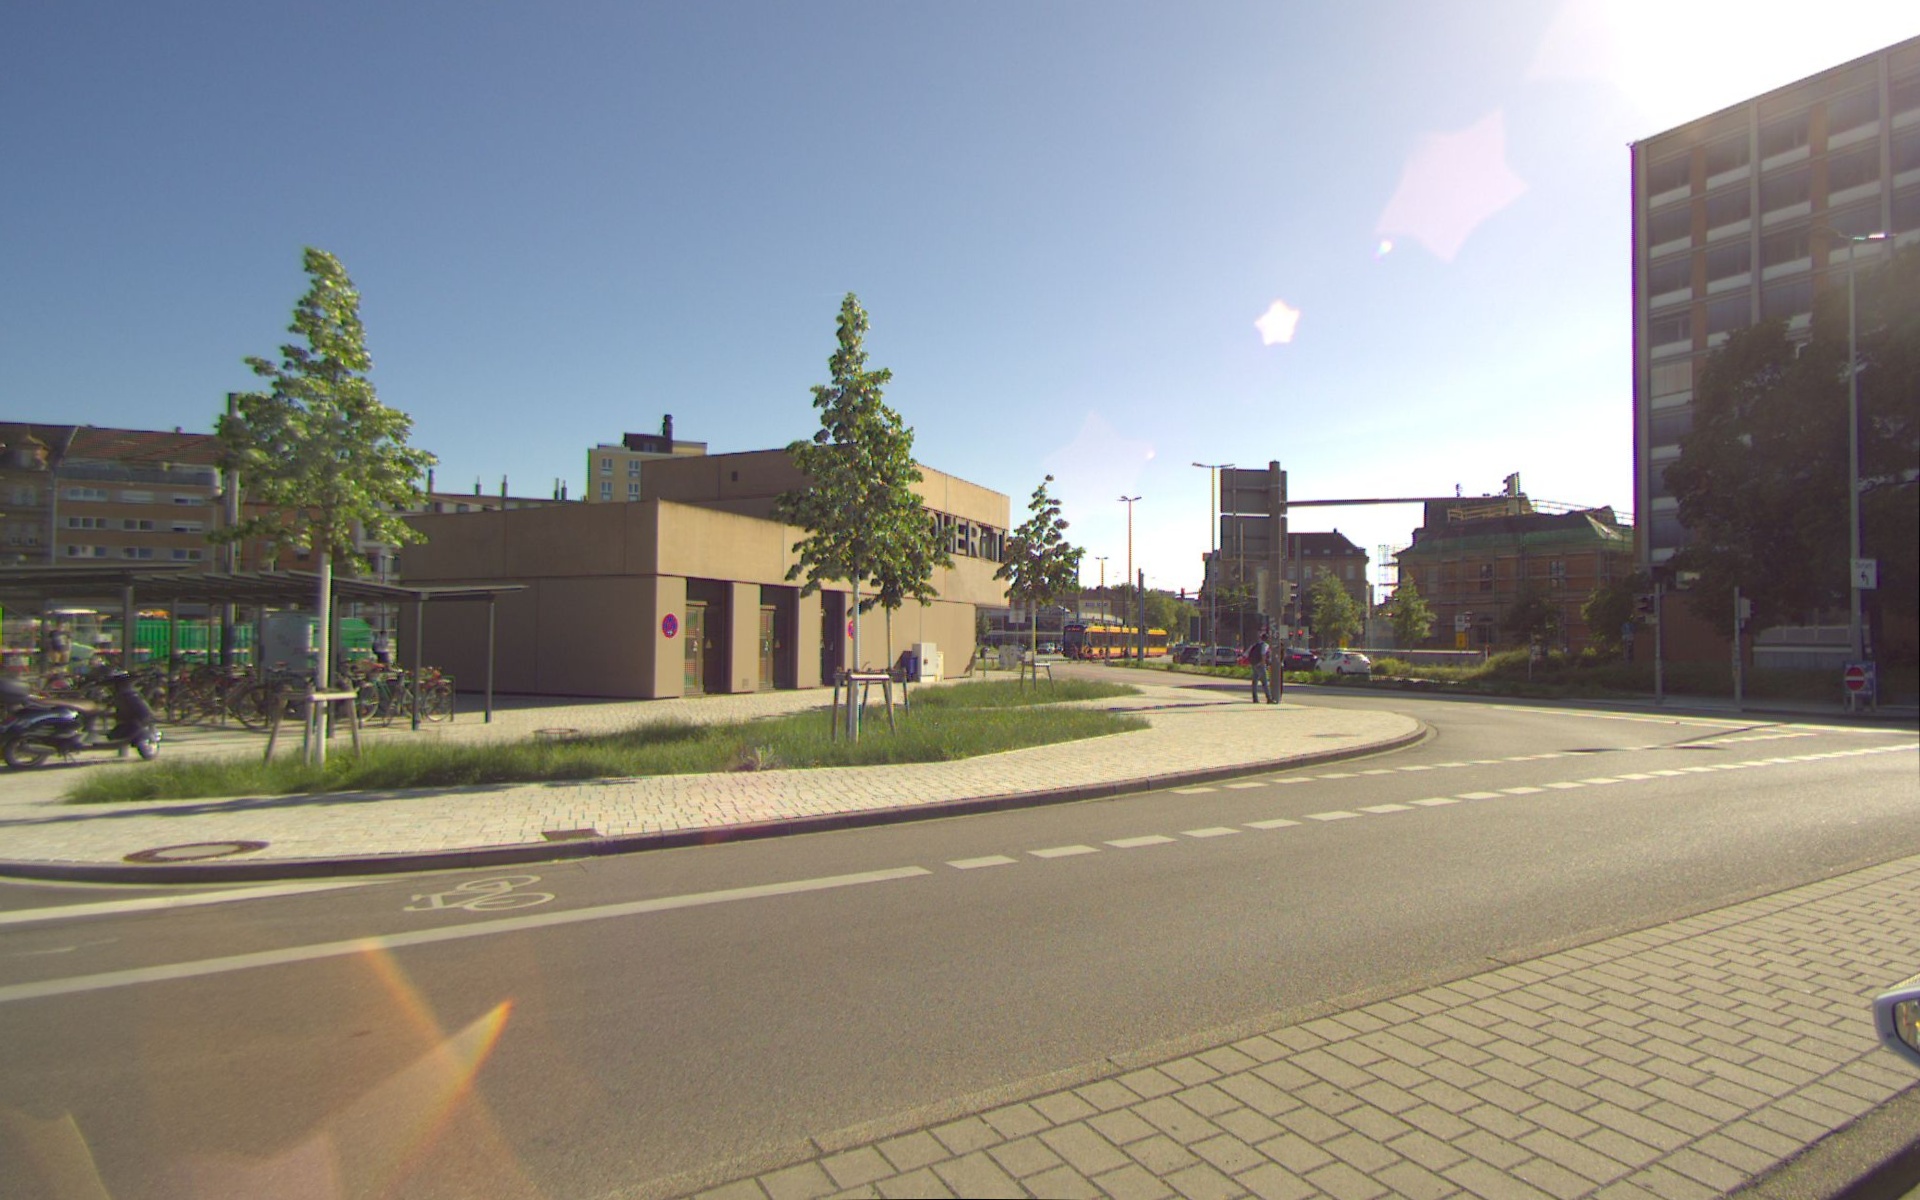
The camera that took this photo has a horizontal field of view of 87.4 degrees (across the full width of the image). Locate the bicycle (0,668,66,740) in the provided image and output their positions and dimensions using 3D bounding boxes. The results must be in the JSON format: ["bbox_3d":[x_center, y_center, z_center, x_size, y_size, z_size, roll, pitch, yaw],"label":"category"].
[{"bbox_3d":[-14.167,1.511,14.445,0.449,1.022,1.902,0,-2,26],"label":"bicycle"}]

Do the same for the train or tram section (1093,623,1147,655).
[{"bbox_3d":[17.500,4.158,109.151,2.651,3.275,10.589,2,0,27],"label":"train or tram section"}]

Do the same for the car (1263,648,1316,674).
[{"bbox_3d":[20.569,3.771,62.790,1.760,1.528,3.880,1,-2,-6],"label":"car"}]

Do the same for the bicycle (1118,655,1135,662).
[{"bbox_3d":[13.989,4.904,84.527,1.381,0.556,0.435,0,-2,11],"label":"bicycle"}]

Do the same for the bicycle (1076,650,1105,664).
[{"bbox_3d":[11.070,4.809,85.491,2.370,1.076,0.811,2,0,4],"label":"bicycle"}]

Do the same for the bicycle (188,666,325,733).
[{"bbox_3d":[-11.898,1.655,17.058,0.449,1.022,1.902,0,-2,26],"label":"bicycle"}]

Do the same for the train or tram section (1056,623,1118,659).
[{"bbox_3d":[12.765,3.968,99.653,2.651,3.275,10.589,2,0,27],"label":"train or tram section"}]

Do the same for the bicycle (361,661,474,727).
[{"bbox_3d":[-9.936,1.700,18.489,0.449,1.112,1.902,0,-2,26],"label":"bicycle"}]

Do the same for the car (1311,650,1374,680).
[{"bbox_3d":[21.242,3.597,55.934,1.760,1.528,3.880,1,-2,-6],"label":"car"}]

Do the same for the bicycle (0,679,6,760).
[{"bbox_3d":[-12.754,1.488,12.002,0.449,1.022,1.902,0,-2,26],"label":"bicycle"}]

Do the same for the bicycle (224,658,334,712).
[{"bbox_3d":[-14.081,1.731,20.828,0.449,1.022,1.902,0,-2,26],"label":"bicycle"}]

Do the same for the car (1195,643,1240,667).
[{"bbox_3d":[17.451,3.697,68.271,1.760,1.528,3.880,1,-2,-6],"label":"car"}]

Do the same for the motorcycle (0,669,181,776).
[{"bbox_3d":[-10.928,1.478,12.469,0.508,1.166,1.947,0,-2,25],"label":"motorcycle"}]

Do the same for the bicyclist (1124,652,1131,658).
[{"bbox_3d":[14.083,4.632,84.524,0.560,0.556,0.431,0,-2,11],"label":"bicyclist"}]

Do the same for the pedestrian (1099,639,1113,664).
[{"bbox_3d":[11.886,4.161,81.735,1.023,2.040,0.724,1,-2,-9],"label":"pedestrian"}]

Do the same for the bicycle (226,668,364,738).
[{"bbox_3d":[-10.919,1.666,16.569,0.449,1.022,1.902,0,-2,26],"label":"bicycle"}]

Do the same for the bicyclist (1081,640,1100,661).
[{"bbox_3d":[11.103,4.275,85.499,1.544,1.655,0.811,2,0,4],"label":"bicyclist"}]

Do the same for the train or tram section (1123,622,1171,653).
[{"bbox_3d":[22.187,4.347,118.611,2.651,3.275,10.589,2,0,27],"label":"train or tram section"}]

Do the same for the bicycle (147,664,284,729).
[{"bbox_3d":[-12.907,1.651,17.488,0.449,1.022,1.902,0,-2,26],"label":"bicycle"}]

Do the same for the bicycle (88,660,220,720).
[{"bbox_3d":[-15.090,1.659,18.863,0.449,1.022,1.902,0,-2,26],"label":"bicycle"}]

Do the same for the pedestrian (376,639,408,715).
[{"bbox_3d":[-15.688,2.112,27.764,0.710,2.040,0.682,1,-2,-30],"label":"pedestrian"}]

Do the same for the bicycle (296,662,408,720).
[{"bbox_3d":[-11.806,1.746,19.576,0.449,1.022,1.902,0,-2,26],"label":"bicycle"}]

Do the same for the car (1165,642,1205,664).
[{"bbox_3d":[16.769,3.933,74.998,1.760,1.528,3.880,1,-2,-6],"label":"car"}]

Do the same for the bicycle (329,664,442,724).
[{"bbox_3d":[-10.716,1.737,18.818,0.449,1.022,1.902,0,-2,26],"label":"bicycle"}]

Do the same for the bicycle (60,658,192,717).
[{"bbox_3d":[-15.926,1.646,19.239,0.449,1.022,1.902,0,-2,26],"label":"bicycle"}]

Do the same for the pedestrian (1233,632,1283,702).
[{"bbox_3d":[7.582,1.696,25.572,1.044,1.753,0.652,1,-2,-16],"label":"pedestrian"}]

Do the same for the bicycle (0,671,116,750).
[{"bbox_3d":[-13.037,1.540,14.014,0.449,1.022,1.902,0,-2,26],"label":"bicycle"}]

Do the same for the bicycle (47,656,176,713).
[{"bbox_3d":[-16.709,1.641,19.837,0.449,1.022,1.902,0,-2,26],"label":"bicycle"}]

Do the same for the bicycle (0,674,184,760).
[{"bbox_3d":[-11.823,1.559,13.722,0.449,1.022,1.902,0,-2,26],"label":"bicycle"}]

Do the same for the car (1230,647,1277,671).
[{"bbox_3d":[20.198,4.036,69.251,1.760,1.528,3.880,1,-2,-6],"label":"car"}]
